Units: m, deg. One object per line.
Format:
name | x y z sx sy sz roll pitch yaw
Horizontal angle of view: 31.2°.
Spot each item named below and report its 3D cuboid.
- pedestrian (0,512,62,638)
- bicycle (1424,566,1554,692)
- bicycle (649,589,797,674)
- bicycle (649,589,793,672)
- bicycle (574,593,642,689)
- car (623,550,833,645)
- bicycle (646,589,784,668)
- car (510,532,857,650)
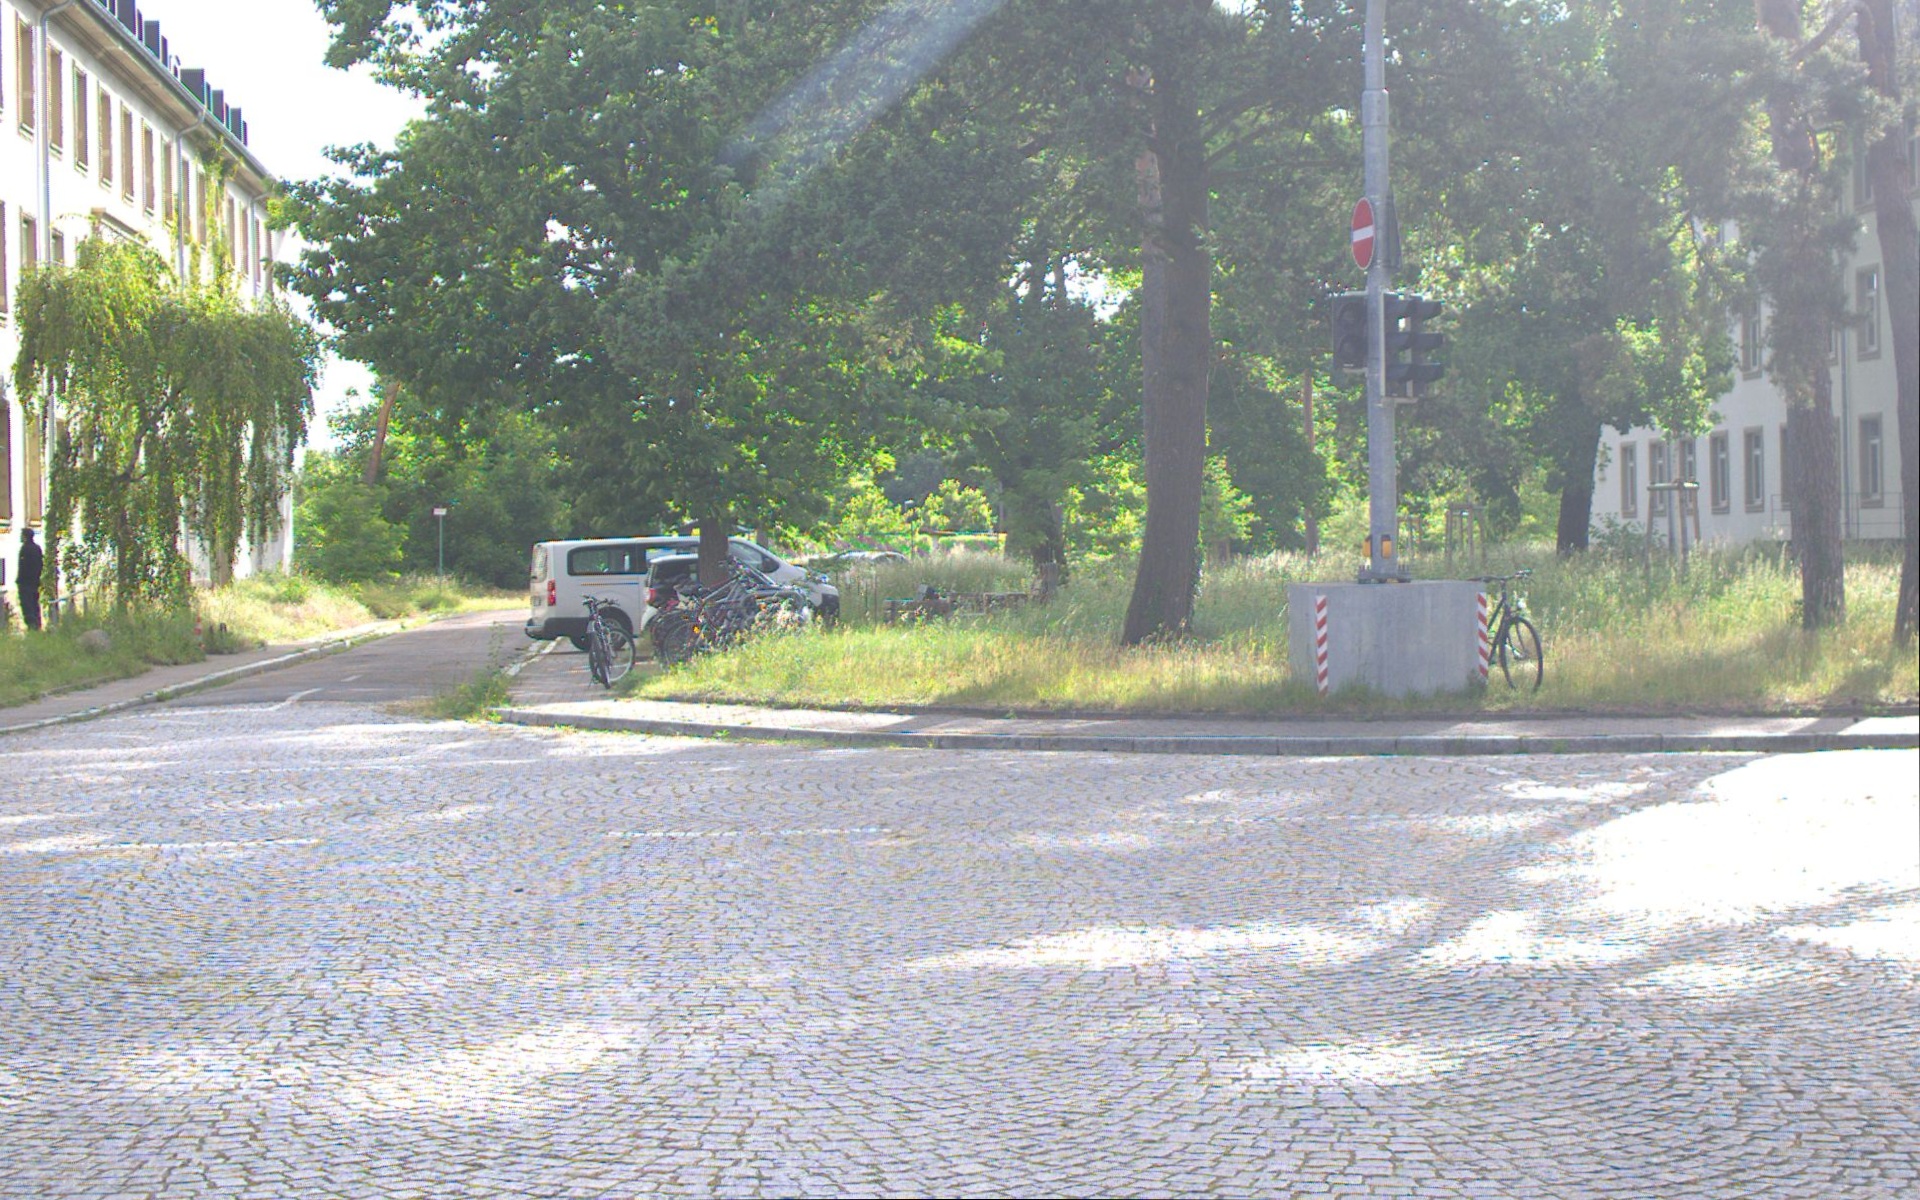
pedestrian | -14.750 -0.394 54.210 0.985 1.956 0.933 -1 0 -6
bicycle | 4.479 0.229 29.205 0.562 0.995 1.752 -1 2 -9
bicycle | -2.959 0.387 42.809 1.792 0.995 0.644 -1 2 -6
bicycle | -3.054 0.385 43.825 1.792 0.995 0.644 -1 2 -6
bicycle | -3.998 0.453 39.118 0.728 0.995 1.799 -1 2 -5
car | -3.734 -0.042 55.156 3.031 1.460 1.720 -1 0 -18
bicycle | -3.287 0.375 46.053 1.792 0.995 0.644 -1 2 -6
car | -4.728 -0.173 58.651 5.499 1.909 2.255 -1 0 -19
